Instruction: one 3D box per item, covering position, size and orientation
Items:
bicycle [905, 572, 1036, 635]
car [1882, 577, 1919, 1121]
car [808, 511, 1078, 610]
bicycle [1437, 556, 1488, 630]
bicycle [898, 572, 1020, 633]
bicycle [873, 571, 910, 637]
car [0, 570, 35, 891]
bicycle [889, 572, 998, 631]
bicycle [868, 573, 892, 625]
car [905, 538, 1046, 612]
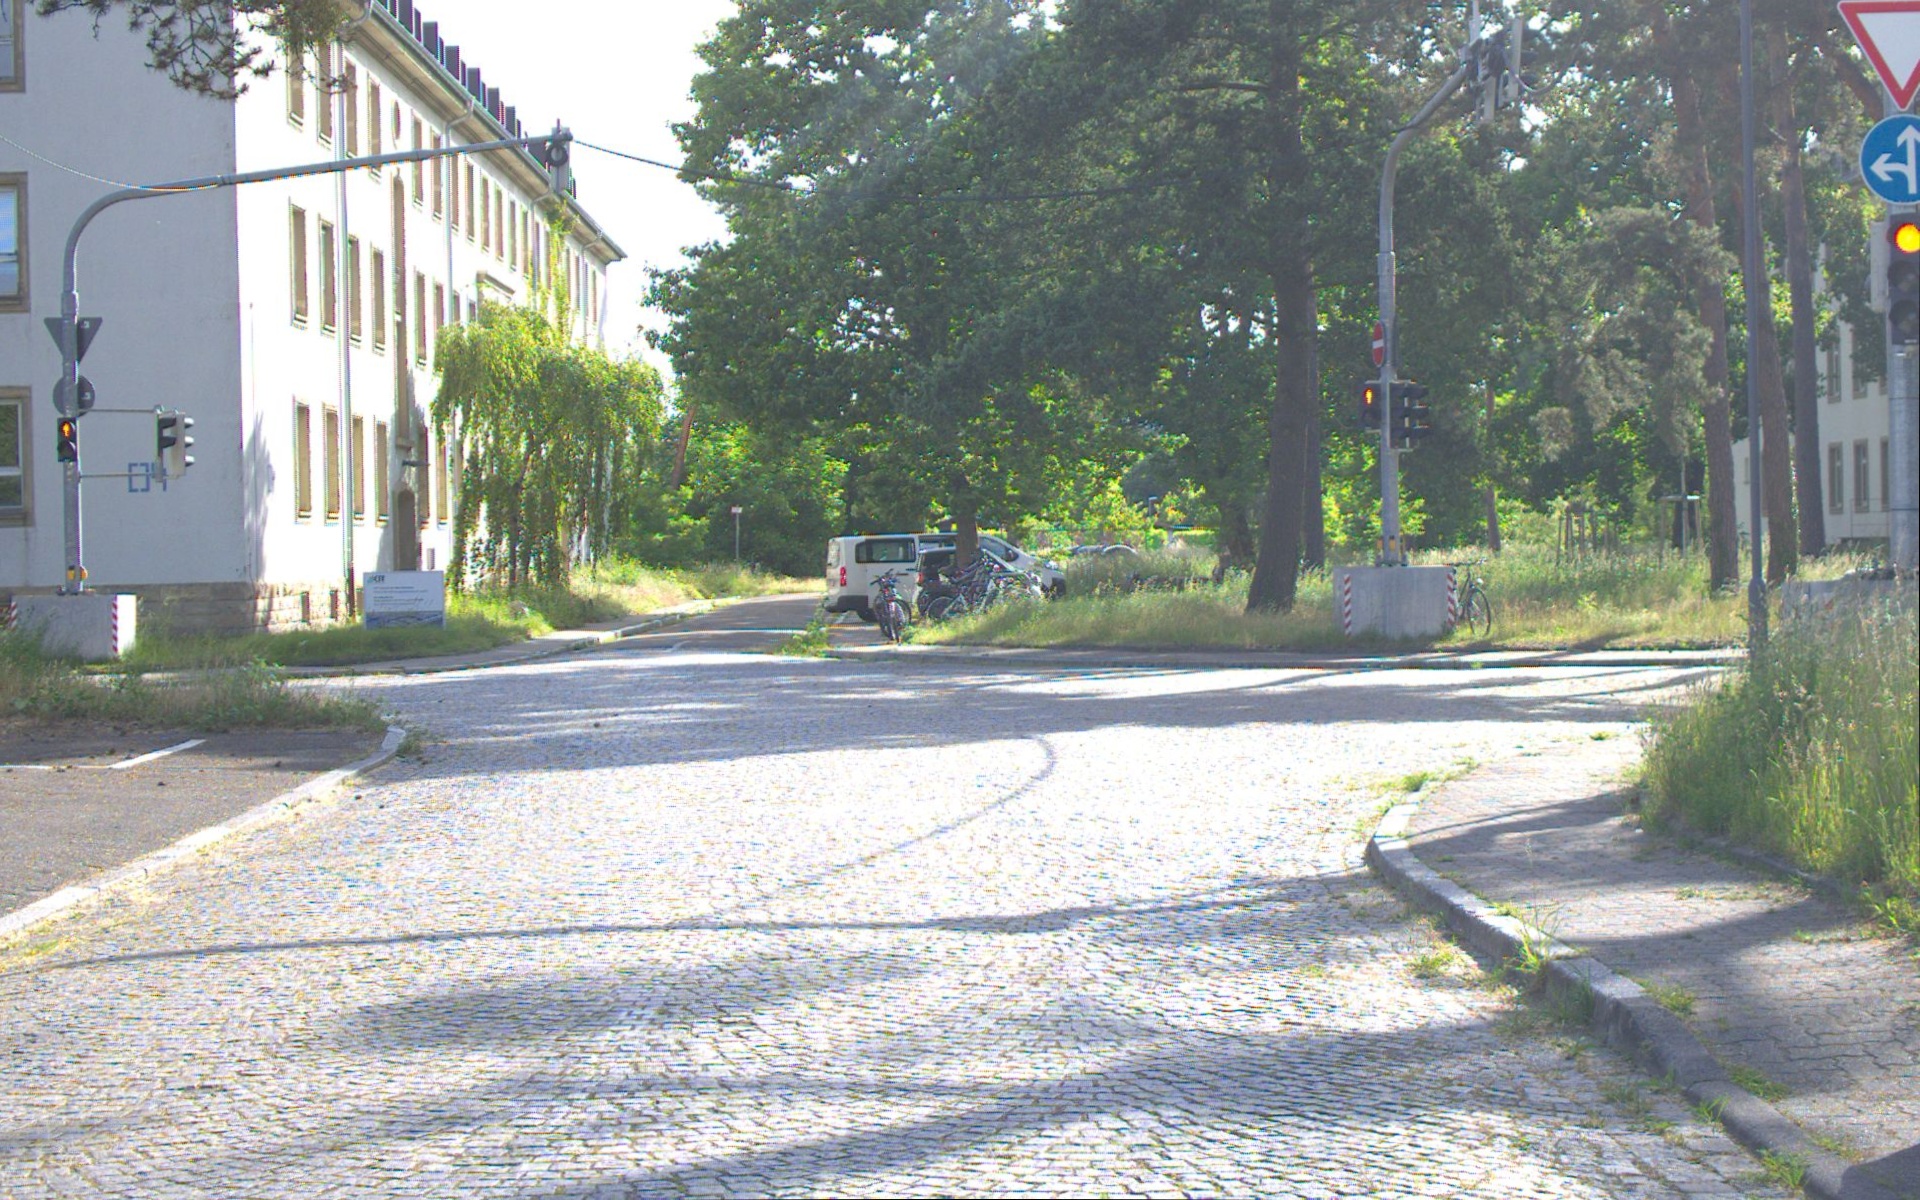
[{"bbox_3d":[0.172,0.057,57.232,2.108,1.007,0.621,1,0,-8],"label":"bicycle"},{"bbox_3d":[4.409,0.588,8.300,3.882,1.410,1.637,-2,1,0],"label":"car"},{"bbox_3d":[-0.376,-0.854,75.213,5.520,2.007,2.001,1,0,-18],"label":"car"},{"bbox_3d":[6.594,-0.096,45.154,0.300,0.957,1.586,1,0,-4],"label":"bicycle"},{"bbox_3d":[-0.018,0.043,58.944,2.004,1.007,0.632,1,0,-8],"label":"bicycle"},{"bbox_3d":[-1.078,0.054,53.646,0.467,1.007,1.586,1,0,-4],"label":"bicycle"},{"bbox_3d":[-6.549,0.570,15.420,4.333,1.463,1.831,1,1,-3],"label":"car"},{"bbox_3d":[-0.295,0.027,60.699,1.837,1.007,0.636,1,0,-8],"label":"bicycle"},{"bbox_3d":[-1.557,-0.023,66.880,0.417,1.007,1.483,1,0,0],"label":"bicycle"},{"bbox_3d":[0.307,-0.516,71.704,2.781,1.462,1.671,1,0,-5],"label":"car"}]
